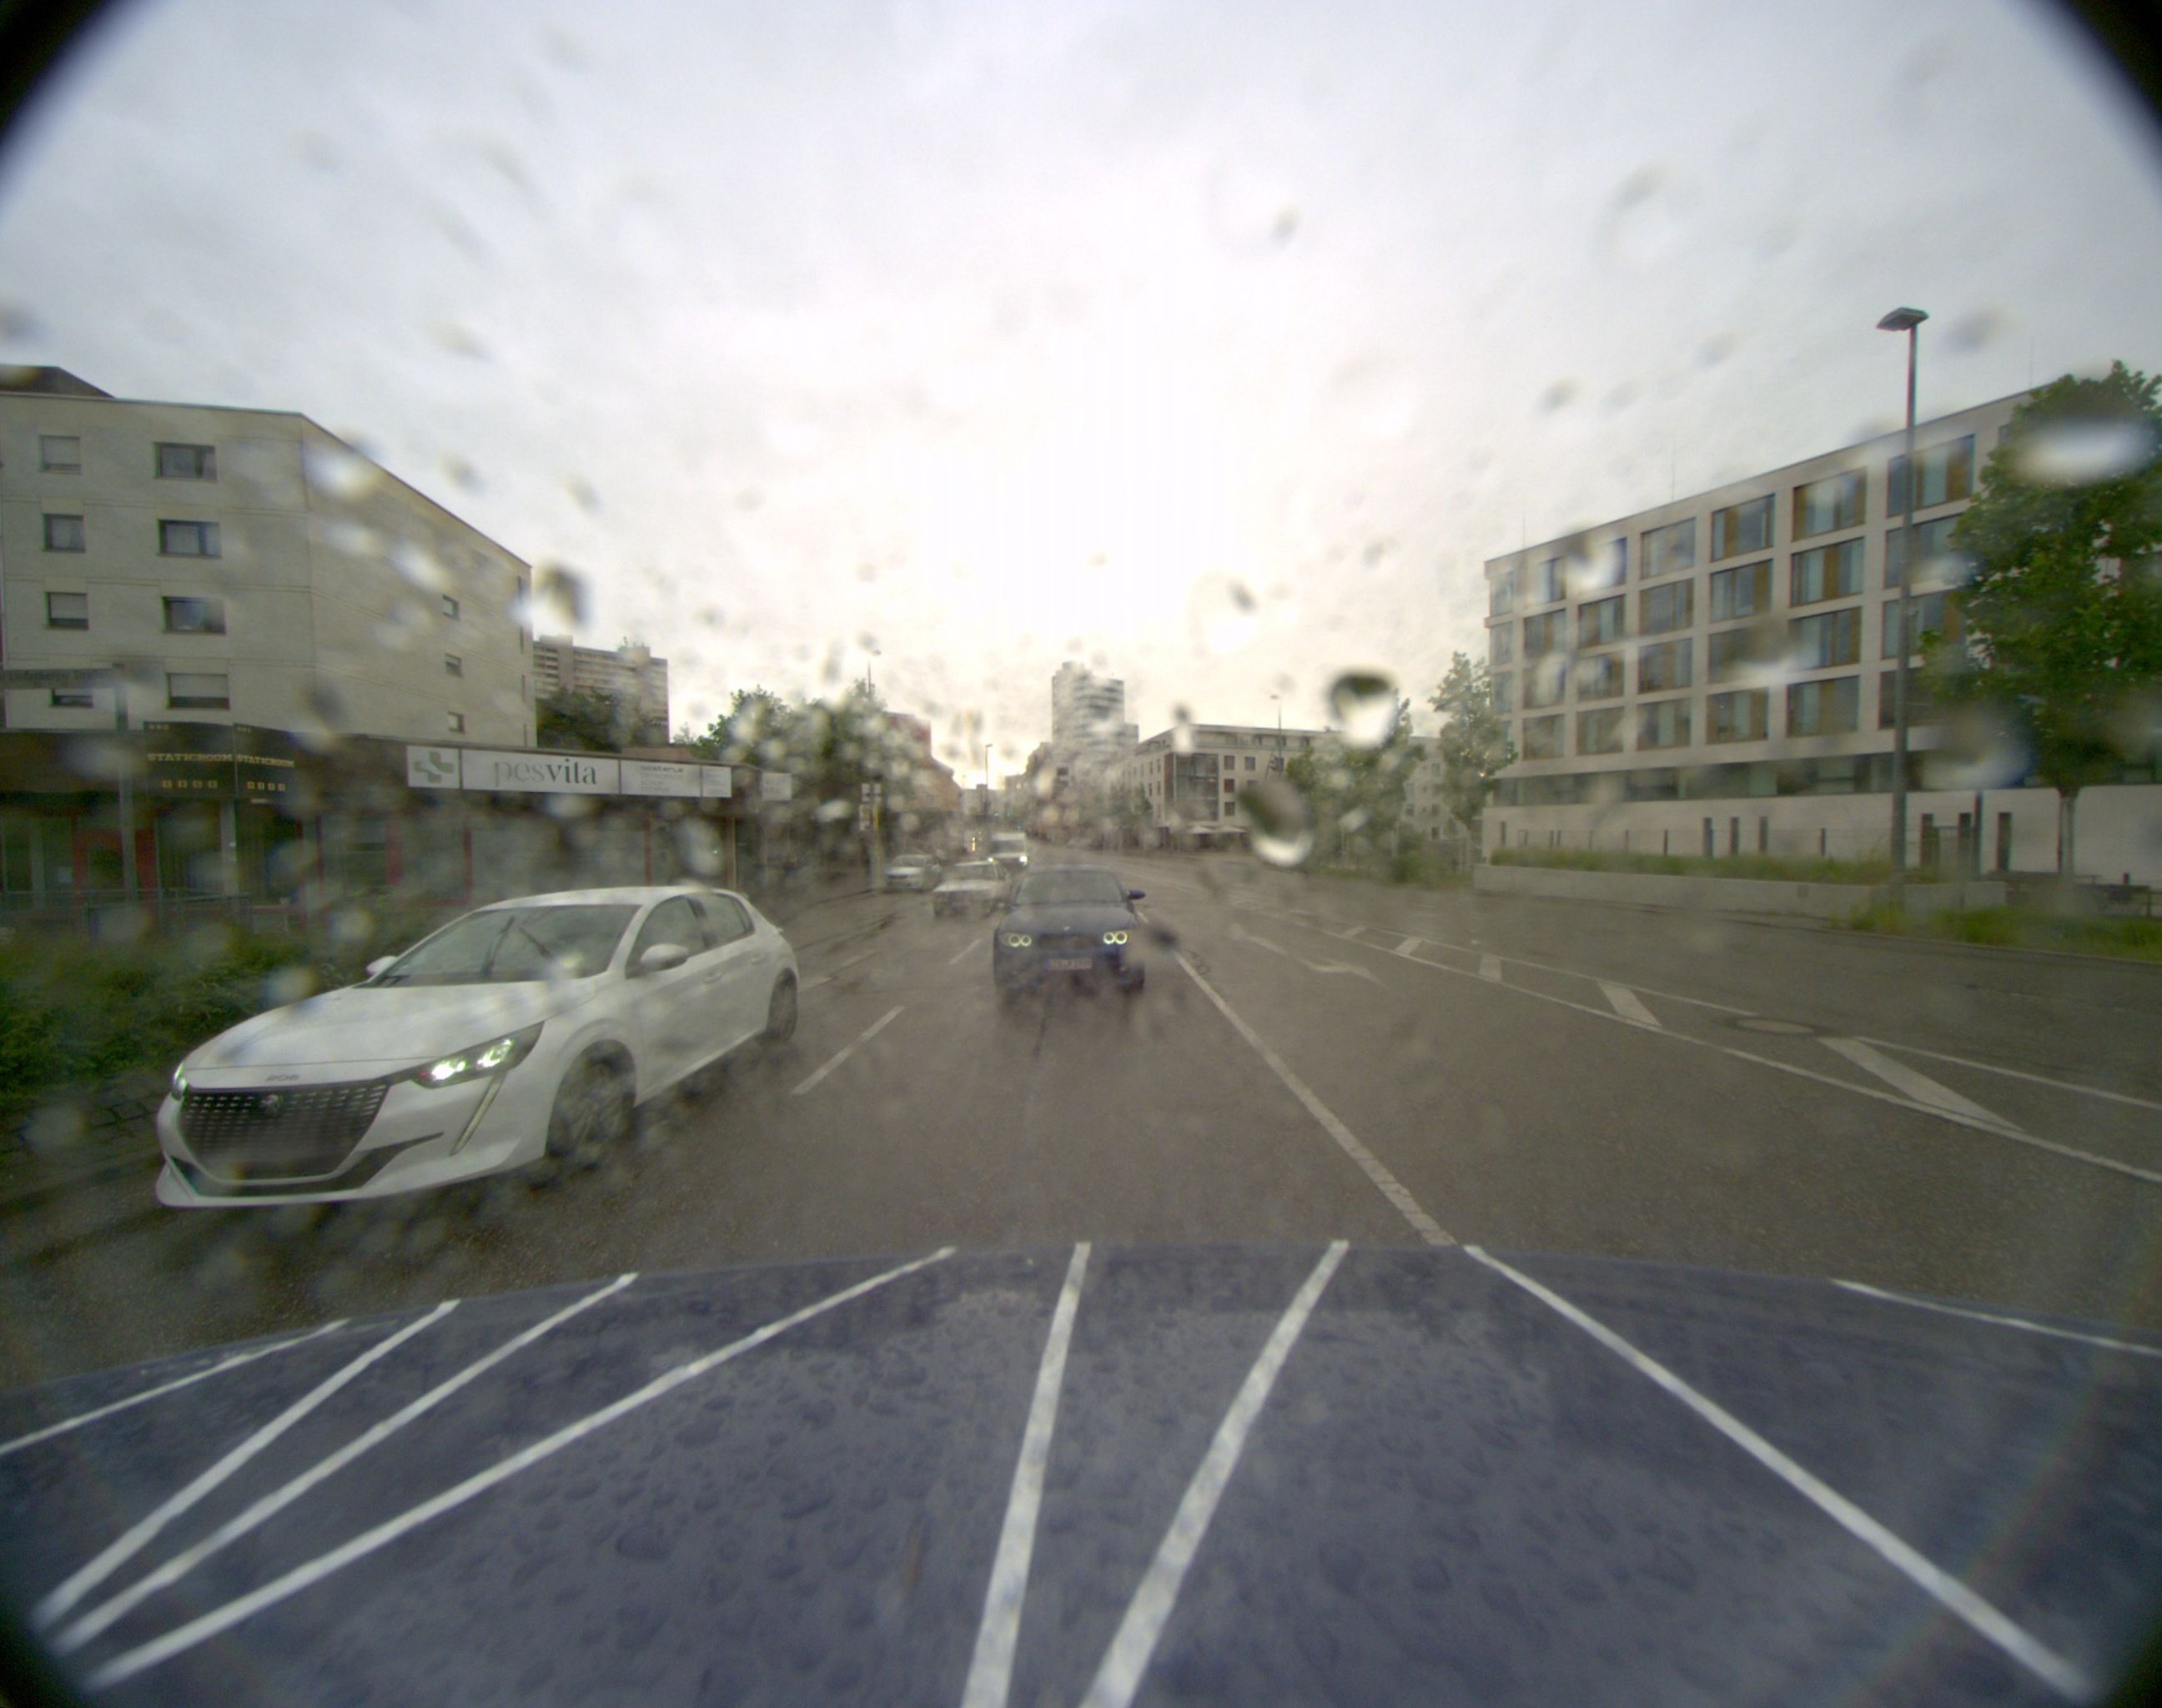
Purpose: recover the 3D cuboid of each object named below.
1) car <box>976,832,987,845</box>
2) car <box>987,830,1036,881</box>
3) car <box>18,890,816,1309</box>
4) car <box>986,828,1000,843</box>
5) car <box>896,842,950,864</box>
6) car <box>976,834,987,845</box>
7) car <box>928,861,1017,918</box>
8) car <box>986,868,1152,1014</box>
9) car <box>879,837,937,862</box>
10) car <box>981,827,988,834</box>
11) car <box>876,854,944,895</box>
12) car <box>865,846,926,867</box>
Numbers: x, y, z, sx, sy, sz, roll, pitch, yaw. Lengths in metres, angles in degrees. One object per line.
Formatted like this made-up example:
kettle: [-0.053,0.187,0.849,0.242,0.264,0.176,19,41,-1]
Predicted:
car: [-16.022,-2.450,122.054,1.722,1.988,3.833,-2,1,-8]
car: [-3.641,0.017,40.791,2.197,2.503,6.120,-1,1,-2]
car: [-3.367,1.085,5.098,1.666,1.407,4.114,-2,1,1]
car: [-12.069,-2.551,103.837,1.722,1.988,3.832,-2,1,-9]
car: [-12.141,-0.045,58.662,4.000,1.584,1.883,-1,-1,-10]
car: [-20.020,-2.889,152.563,2.000,2.002,3.997,-2,1,-6]
car: [-2.953,0.932,21.528,1.788,1.338,4.162,-2,1,1]
car: [-0.172,0.948,9.967,1.693,1.380,3.999,-2,1,-1]
car: [-12.585,-0.345,55.538,4.000,1.769,1.882,-1,1,-10]
car: [-26.951,-6.551,212.538,1.666,1.625,3.801,-2,1,-11]
car: [-6.956,0.779,31.346,1.788,1.481,4.000,-2,1,1]
car: [-12.924,0.161,53.045,4.000,1.419,1.882,-1,1,-10]
